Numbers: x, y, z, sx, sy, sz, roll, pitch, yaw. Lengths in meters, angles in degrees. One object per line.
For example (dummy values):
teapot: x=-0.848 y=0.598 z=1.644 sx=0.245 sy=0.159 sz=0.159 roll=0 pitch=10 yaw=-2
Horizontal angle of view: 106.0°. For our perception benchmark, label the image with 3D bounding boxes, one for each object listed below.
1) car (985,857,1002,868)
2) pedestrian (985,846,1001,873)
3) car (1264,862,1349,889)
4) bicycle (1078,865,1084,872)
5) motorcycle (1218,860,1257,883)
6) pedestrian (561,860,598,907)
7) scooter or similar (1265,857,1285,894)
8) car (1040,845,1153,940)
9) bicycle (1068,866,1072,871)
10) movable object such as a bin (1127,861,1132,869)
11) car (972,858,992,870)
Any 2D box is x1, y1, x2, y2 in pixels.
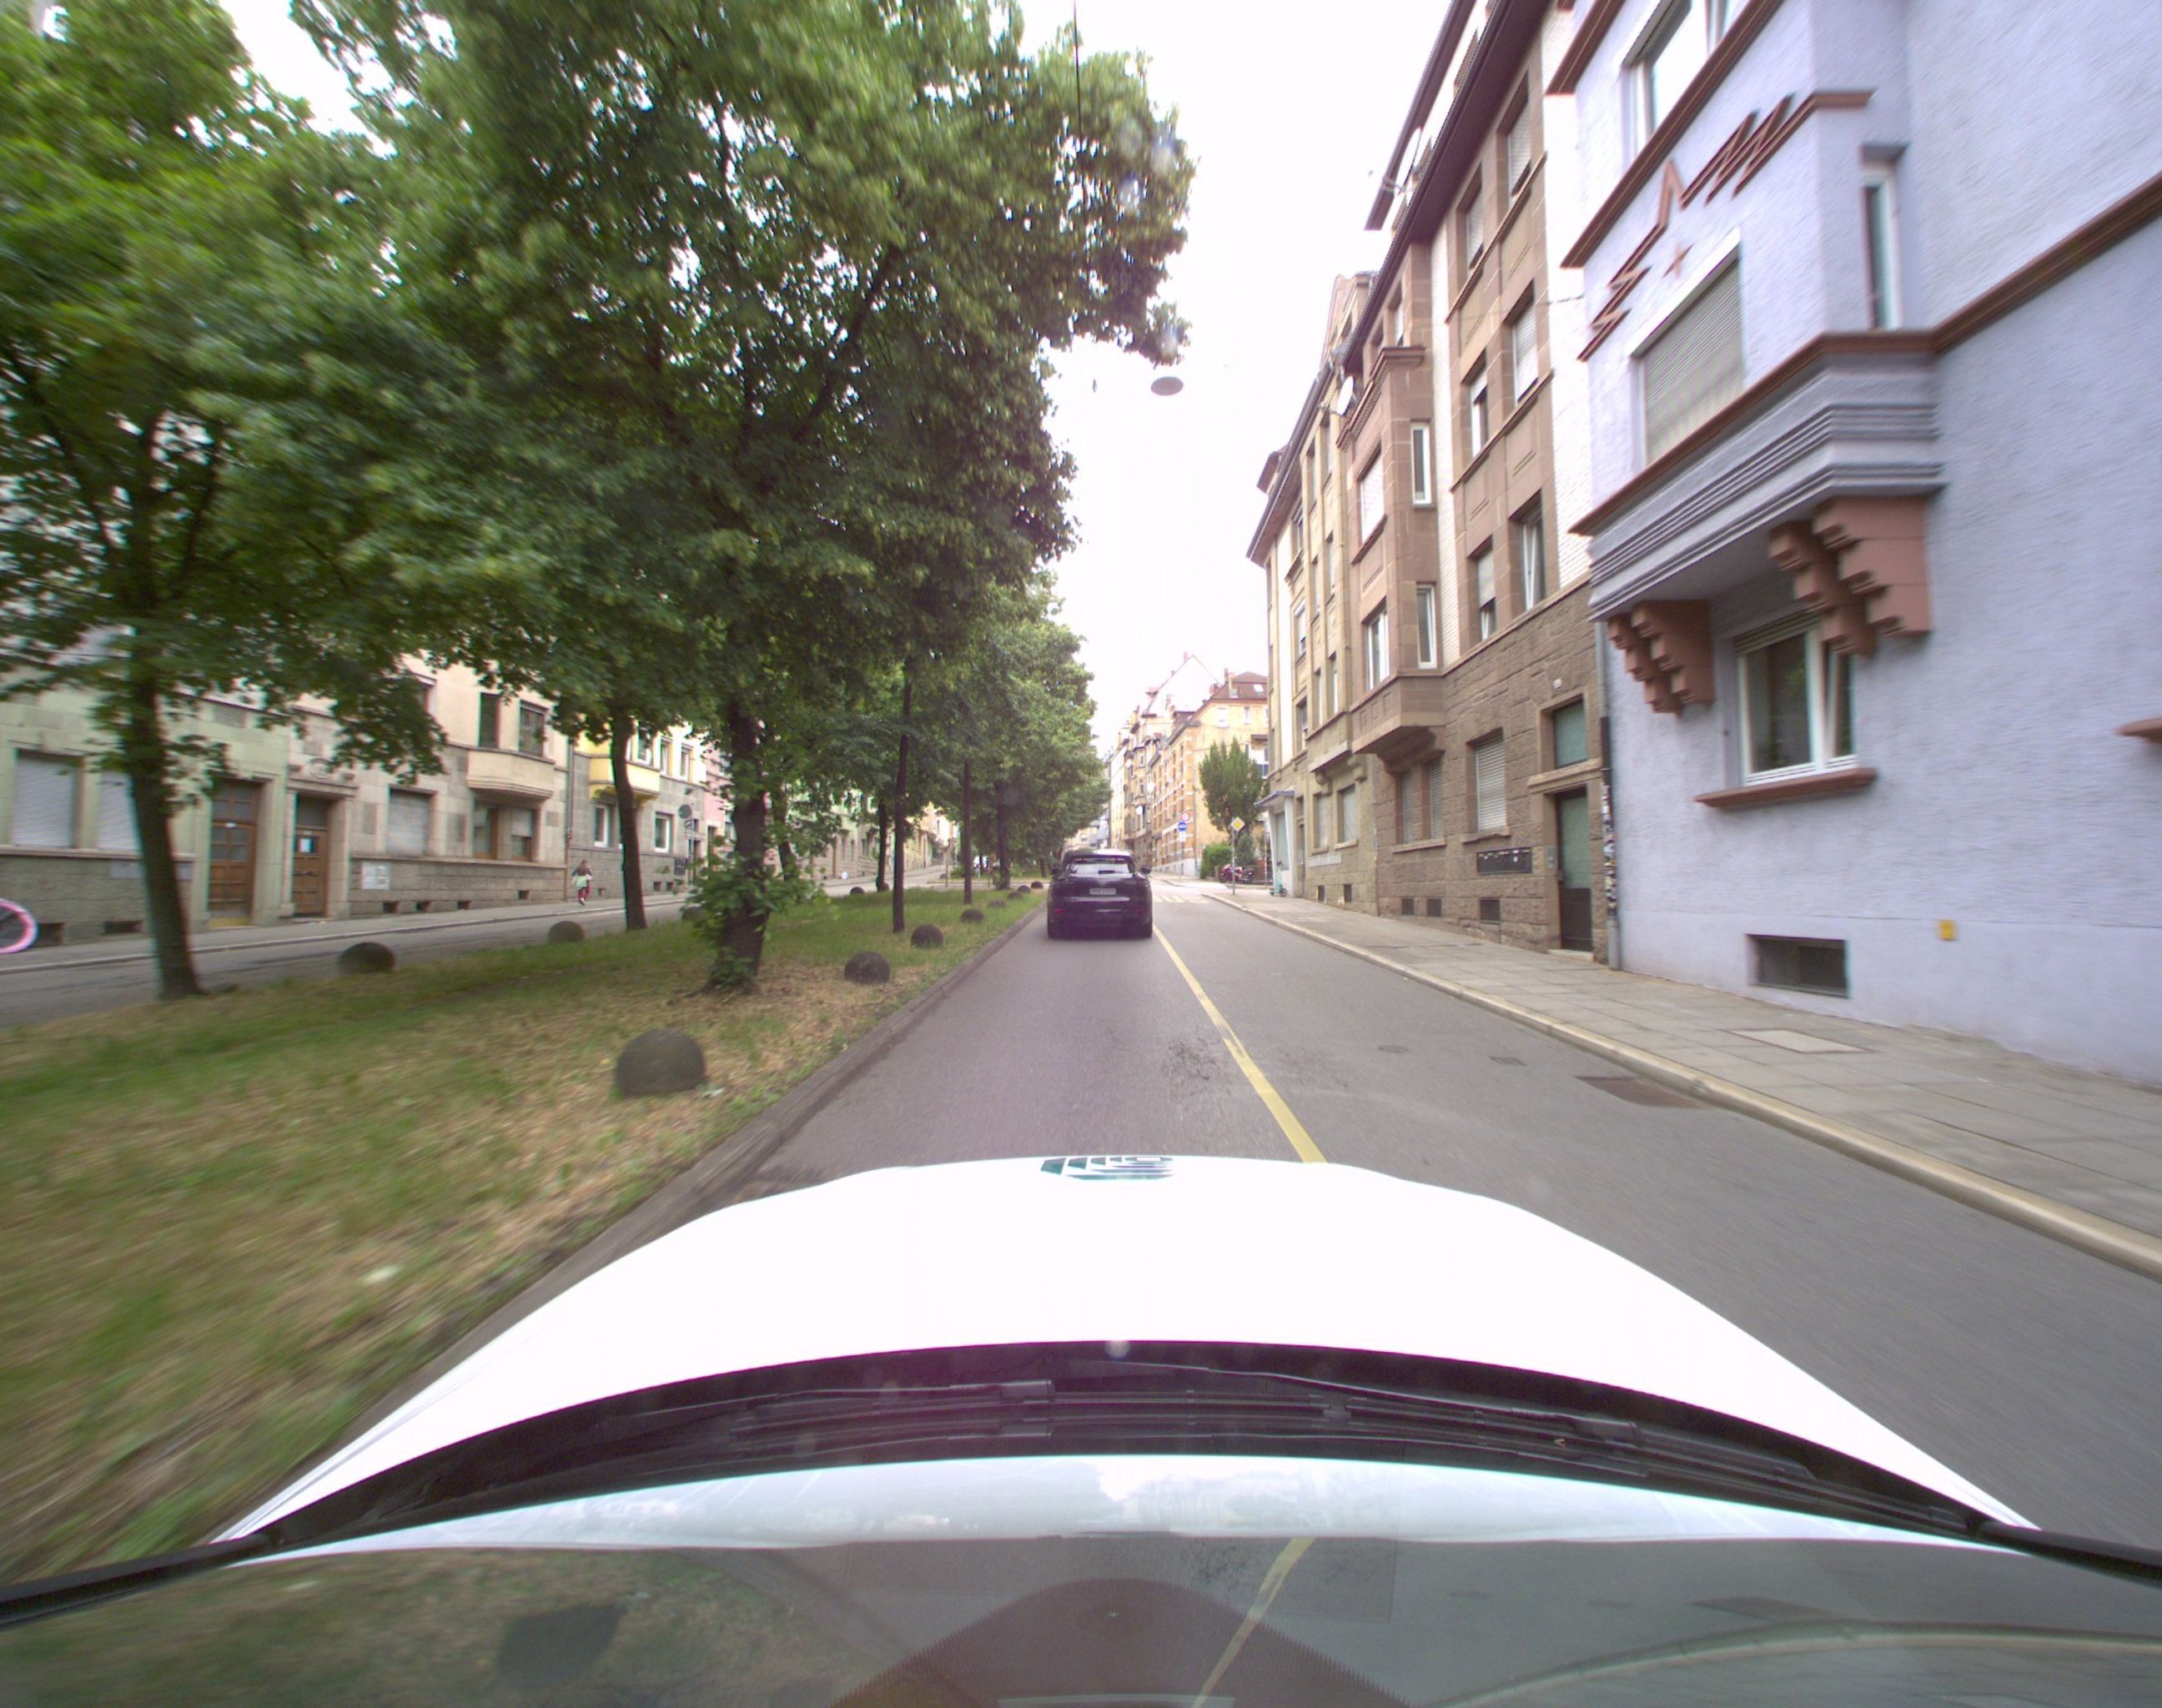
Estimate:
car: x=-12.242 y=1.237 z=114.530 sx=1.752 sy=1.382 sz=4.670 roll=-2 pitch=0 yaw=2
pedestrian: x=-5.689 y=0.365 z=52.694 sx=0.830 sy=1.712 sz=1.123 roll=-3 pitch=-3 yaw=1
car: x=12.245 y=1.156 z=44.364 sx=4.113 sy=1.285 sz=1.782 roll=1 pitch=3 yaw=-2
bicycle: x=-0.082 y=2.825 z=157.764 sx=0.878 sy=1.129 sz=2.972 roll=1 pitch=-2 yaw=-6
motorcycle: x=9.013 y=1.014 z=47.001 sx=2.051 sy=1.268 sz=1.009 roll=1 pitch=-1 yaw=-4
pedestrian: x=-16.049 y=0.928 z=26.075 sx=0.696 sy=1.460 sz=0.704 roll=1 pitch=0 yaw=2
scooter or similar: x=6.817 y=0.751 z=28.673 sx=0.408 sy=1.210 sz=1.146 roll=-3 pitch=2 yaw=1
car: x=0.261 y=0.675 z=16.467 sx=1.987 sy=1.665 sz=3.999 roll=1 pitch=0 yaw=-1
bicycle: x=-2.244 y=3.044 z=168.795 sx=0.446 sy=1.037 sz=2.242 roll=0 pitch=-3 yaw=-8
movable object such as a bin: x=5.835 y=1.315 z=98.156 sx=0.593 sy=0.904 sz=0.562 roll=1 pitch=-1 yaw=-4
car: x=-12.024 y=1.194 z=99.542 sx=1.702 sy=1.382 sz=4.671 roll=-2 pitch=0 yaw=2
